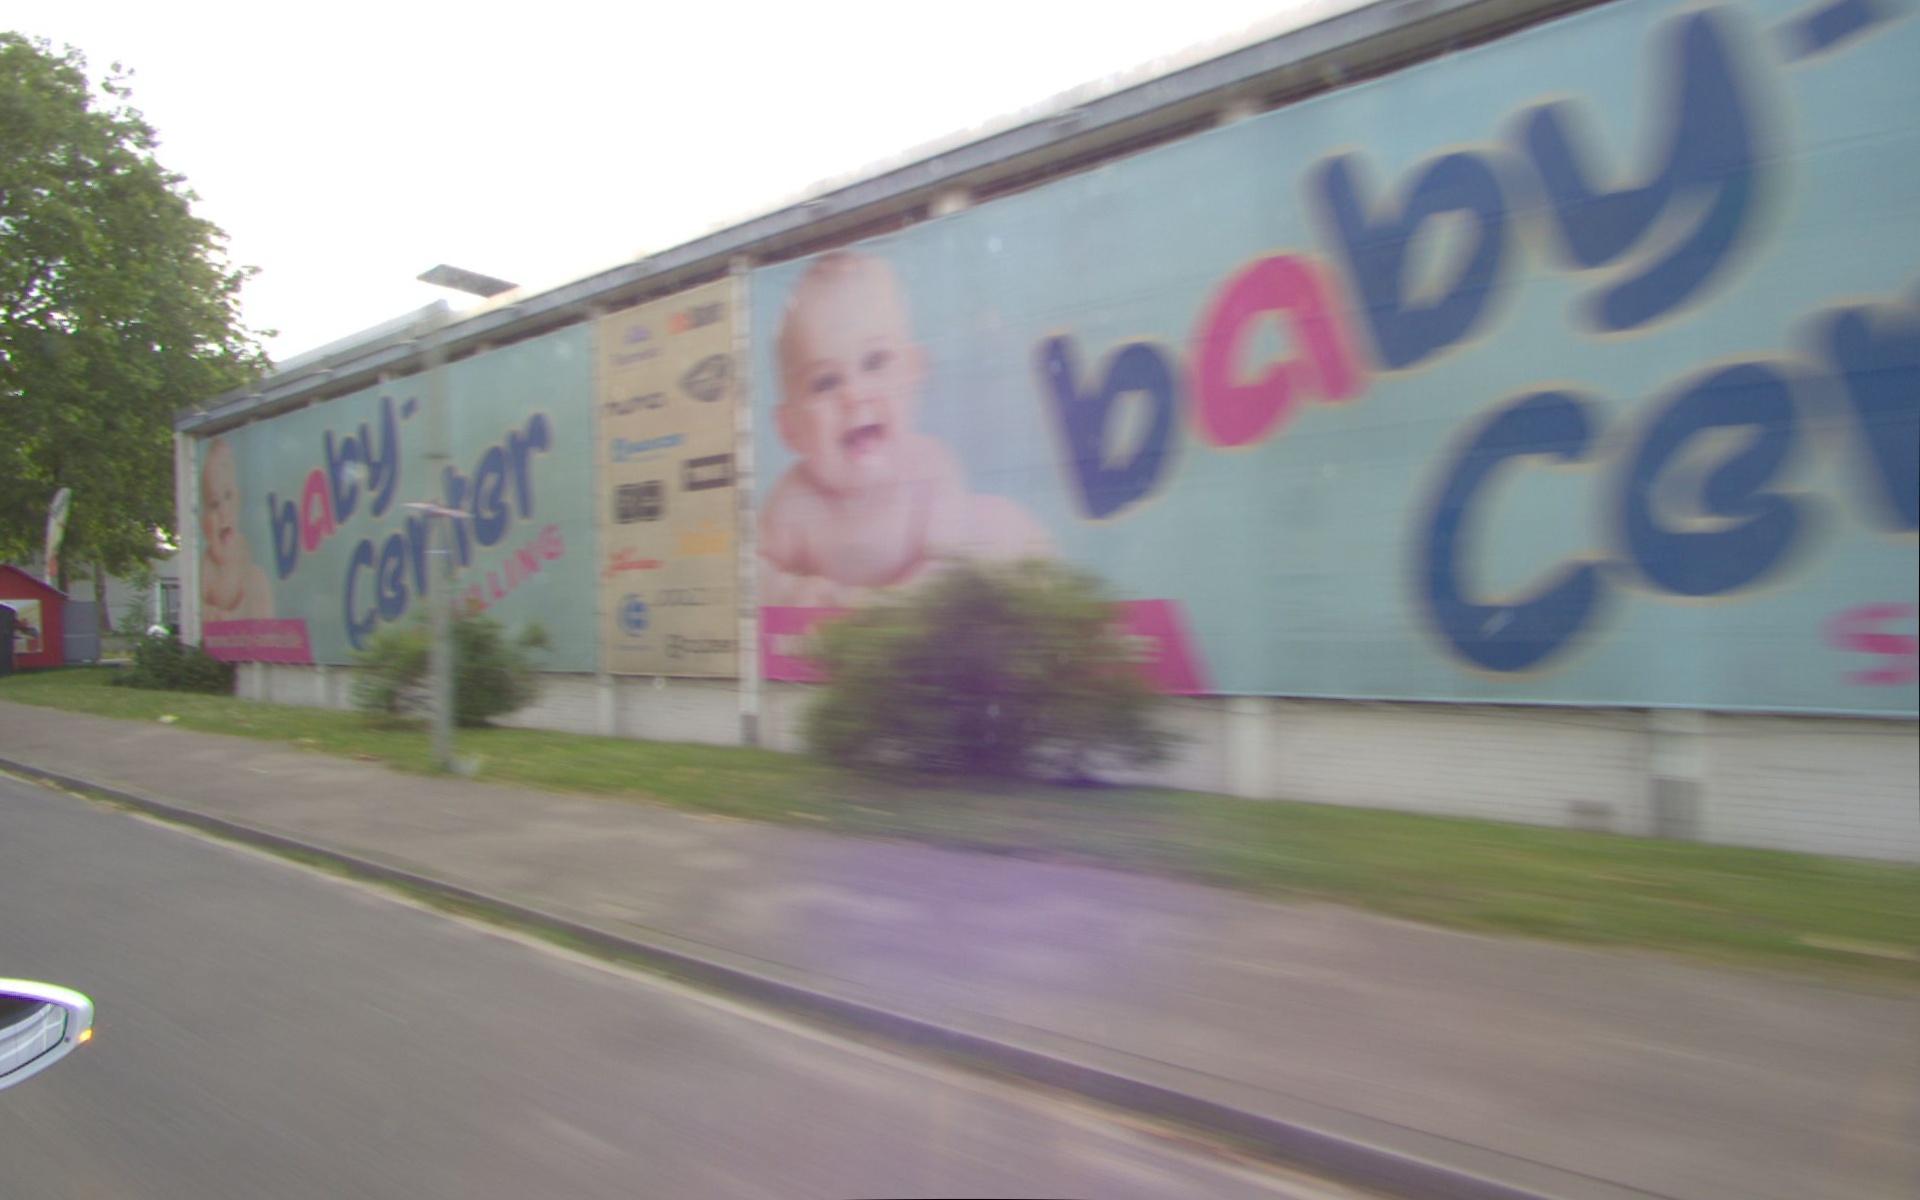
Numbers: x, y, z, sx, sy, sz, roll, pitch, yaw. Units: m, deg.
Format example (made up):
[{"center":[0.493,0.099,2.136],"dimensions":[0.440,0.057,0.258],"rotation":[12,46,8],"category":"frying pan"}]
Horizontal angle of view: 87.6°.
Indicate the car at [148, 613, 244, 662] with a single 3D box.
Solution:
[{"center":[-25.903,1.234,33.921],"dimensions":[3.952,1.532,1.732],"rotation":[-1,0,39],"category":"car"}]
